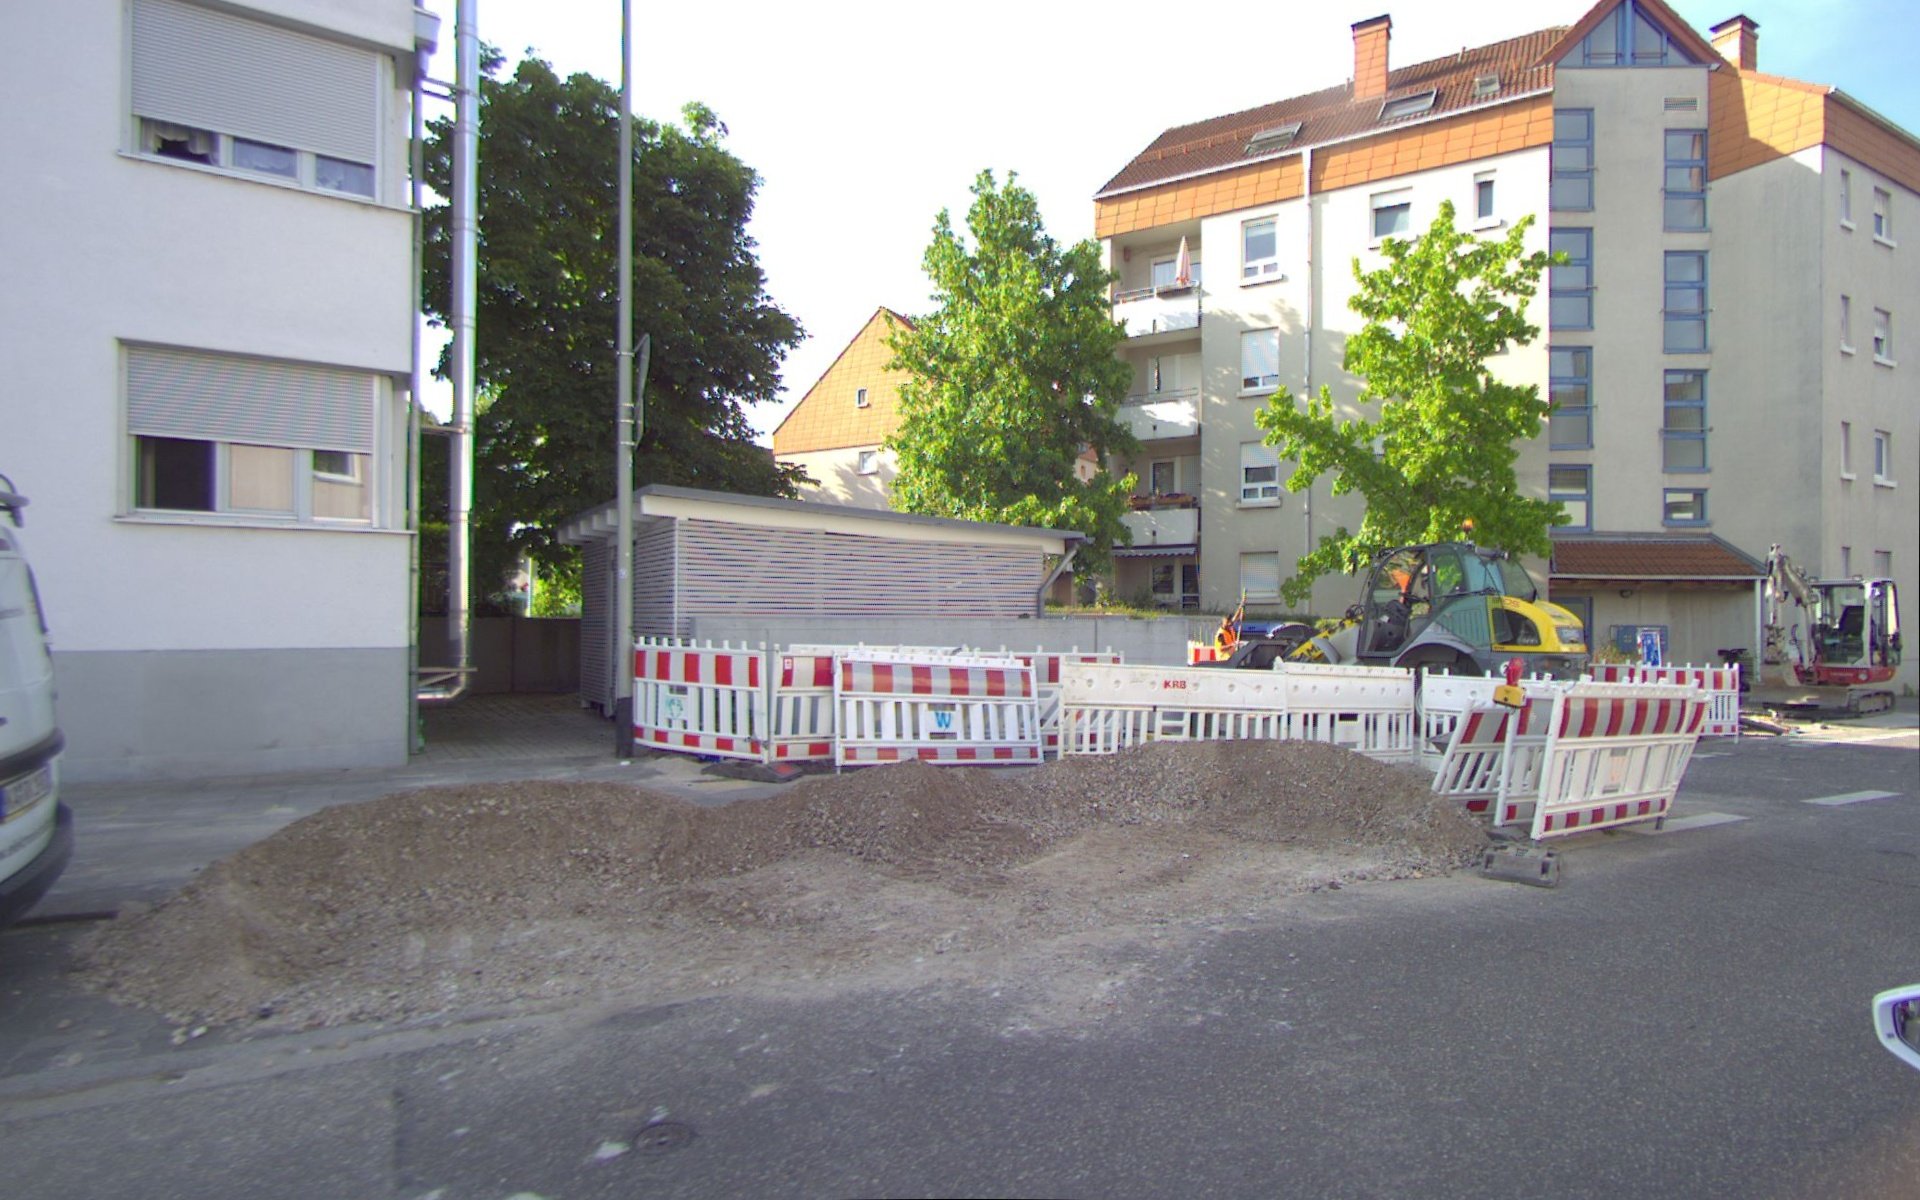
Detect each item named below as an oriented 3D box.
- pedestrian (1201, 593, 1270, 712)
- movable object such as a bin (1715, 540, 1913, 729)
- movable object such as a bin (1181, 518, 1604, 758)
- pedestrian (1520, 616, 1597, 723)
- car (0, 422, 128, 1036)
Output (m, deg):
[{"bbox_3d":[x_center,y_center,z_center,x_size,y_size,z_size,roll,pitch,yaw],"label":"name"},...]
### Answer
[{"bbox_3d":[4.836,0.910,17.685,0.879,2.045,0.765,1,0,-17],"label":"pedestrian"},{"bbox_3d":[15.838,0.613,18.592,3.855,3.180,1.639,1,-1,-31],"label":"movable object such as a bin"},{"bbox_3d":[6.219,0.452,15.055,2.097,2.939,5.444,0,0,-43],"label":"movable object such as a bin"},{"bbox_3d":[9.813,1.111,16.470,0.981,1.686,0.665,1,0,-29],"label":"pedestrian"},{"bbox_3d":[-5.285,0.386,2.788,4.393,1.987,1.716,1,0,-34],"label":"car"}]
